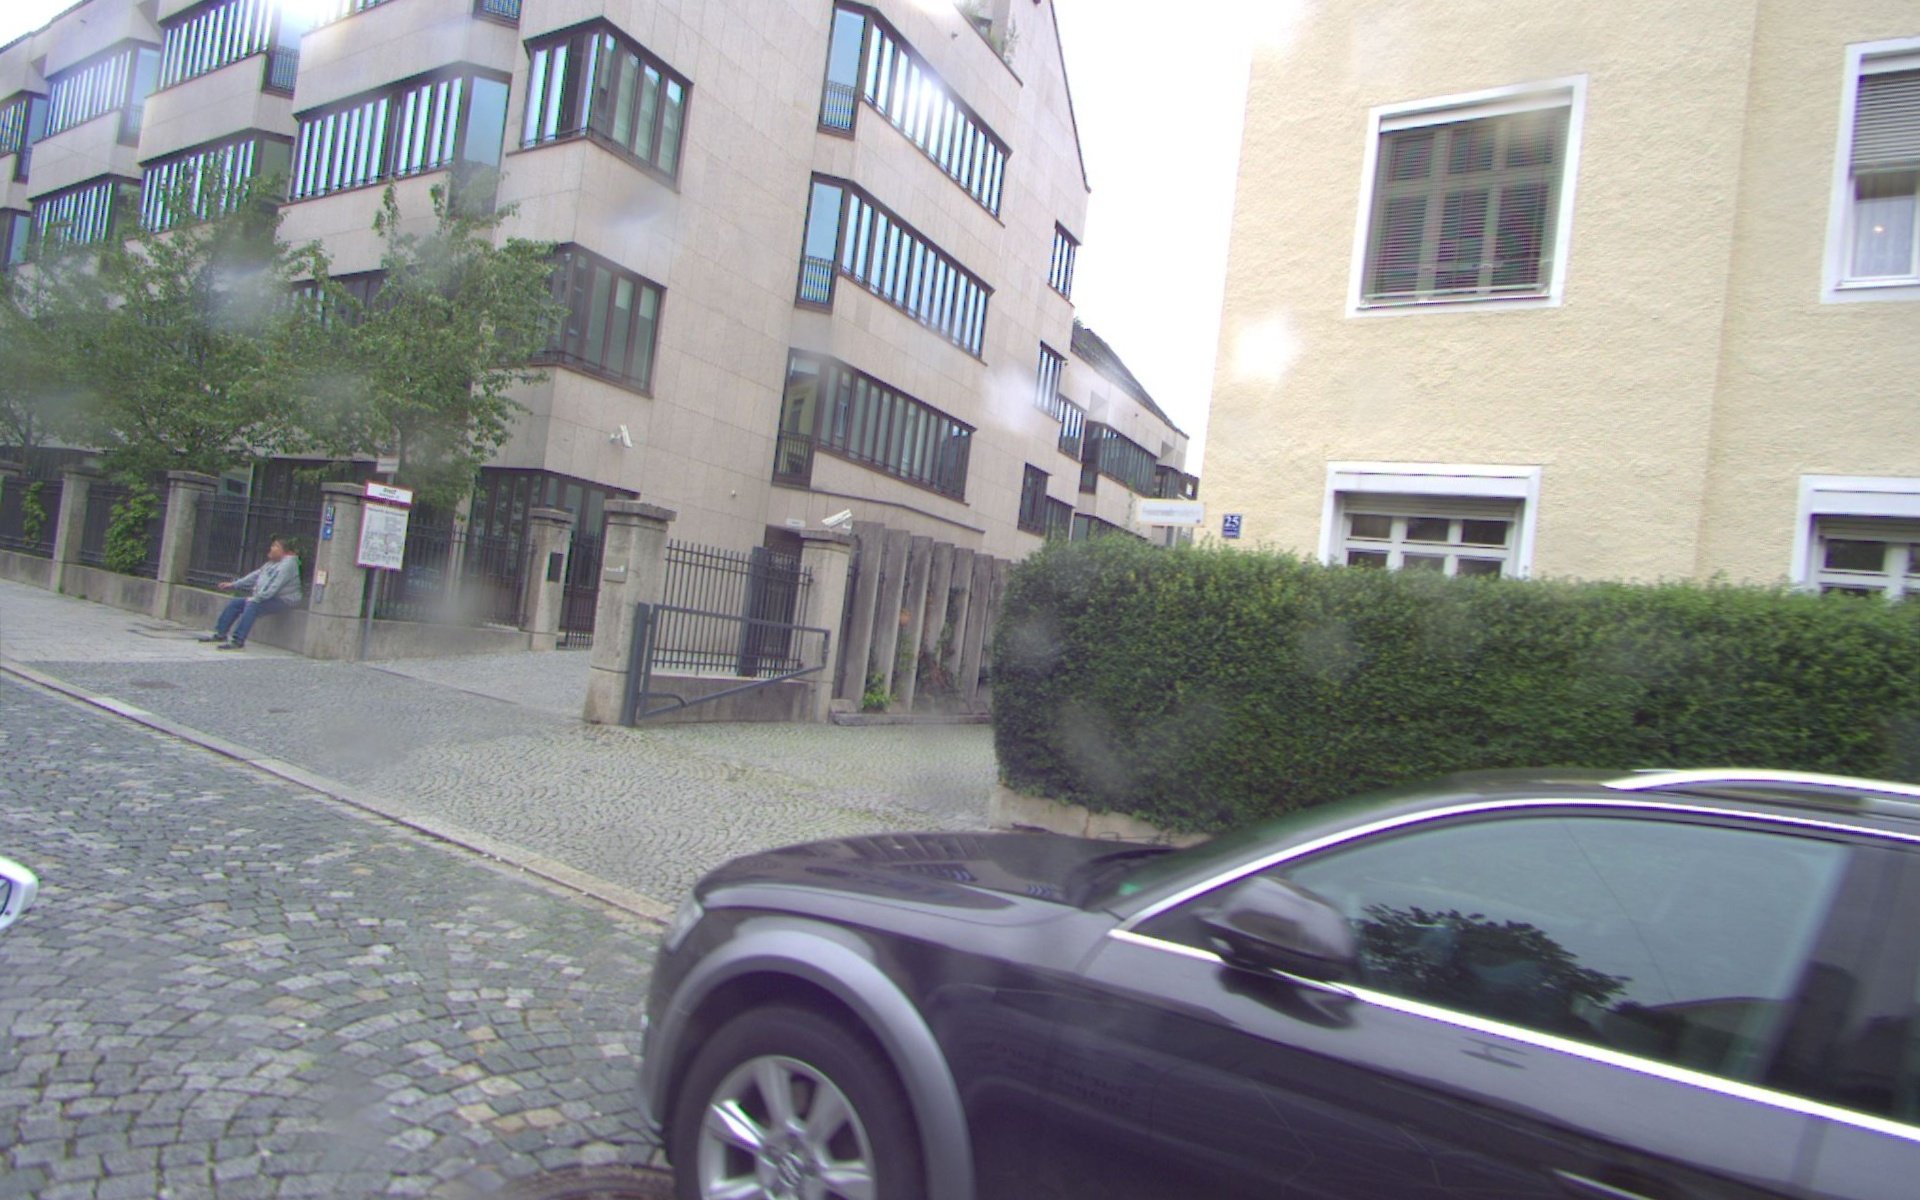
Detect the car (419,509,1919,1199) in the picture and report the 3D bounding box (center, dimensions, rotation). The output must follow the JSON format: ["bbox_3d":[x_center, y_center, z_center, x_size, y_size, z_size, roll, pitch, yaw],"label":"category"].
[{"bbox_3d":[1.308,0.921,2.189,4.931,1.568,2.000,7,-4,31],"label":"car"}]

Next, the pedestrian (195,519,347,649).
[{"bbox_3d":[-8.952,-0.197,13.090,1.111,1.512,1.217,7,1,33],"label":"pedestrian"}]
